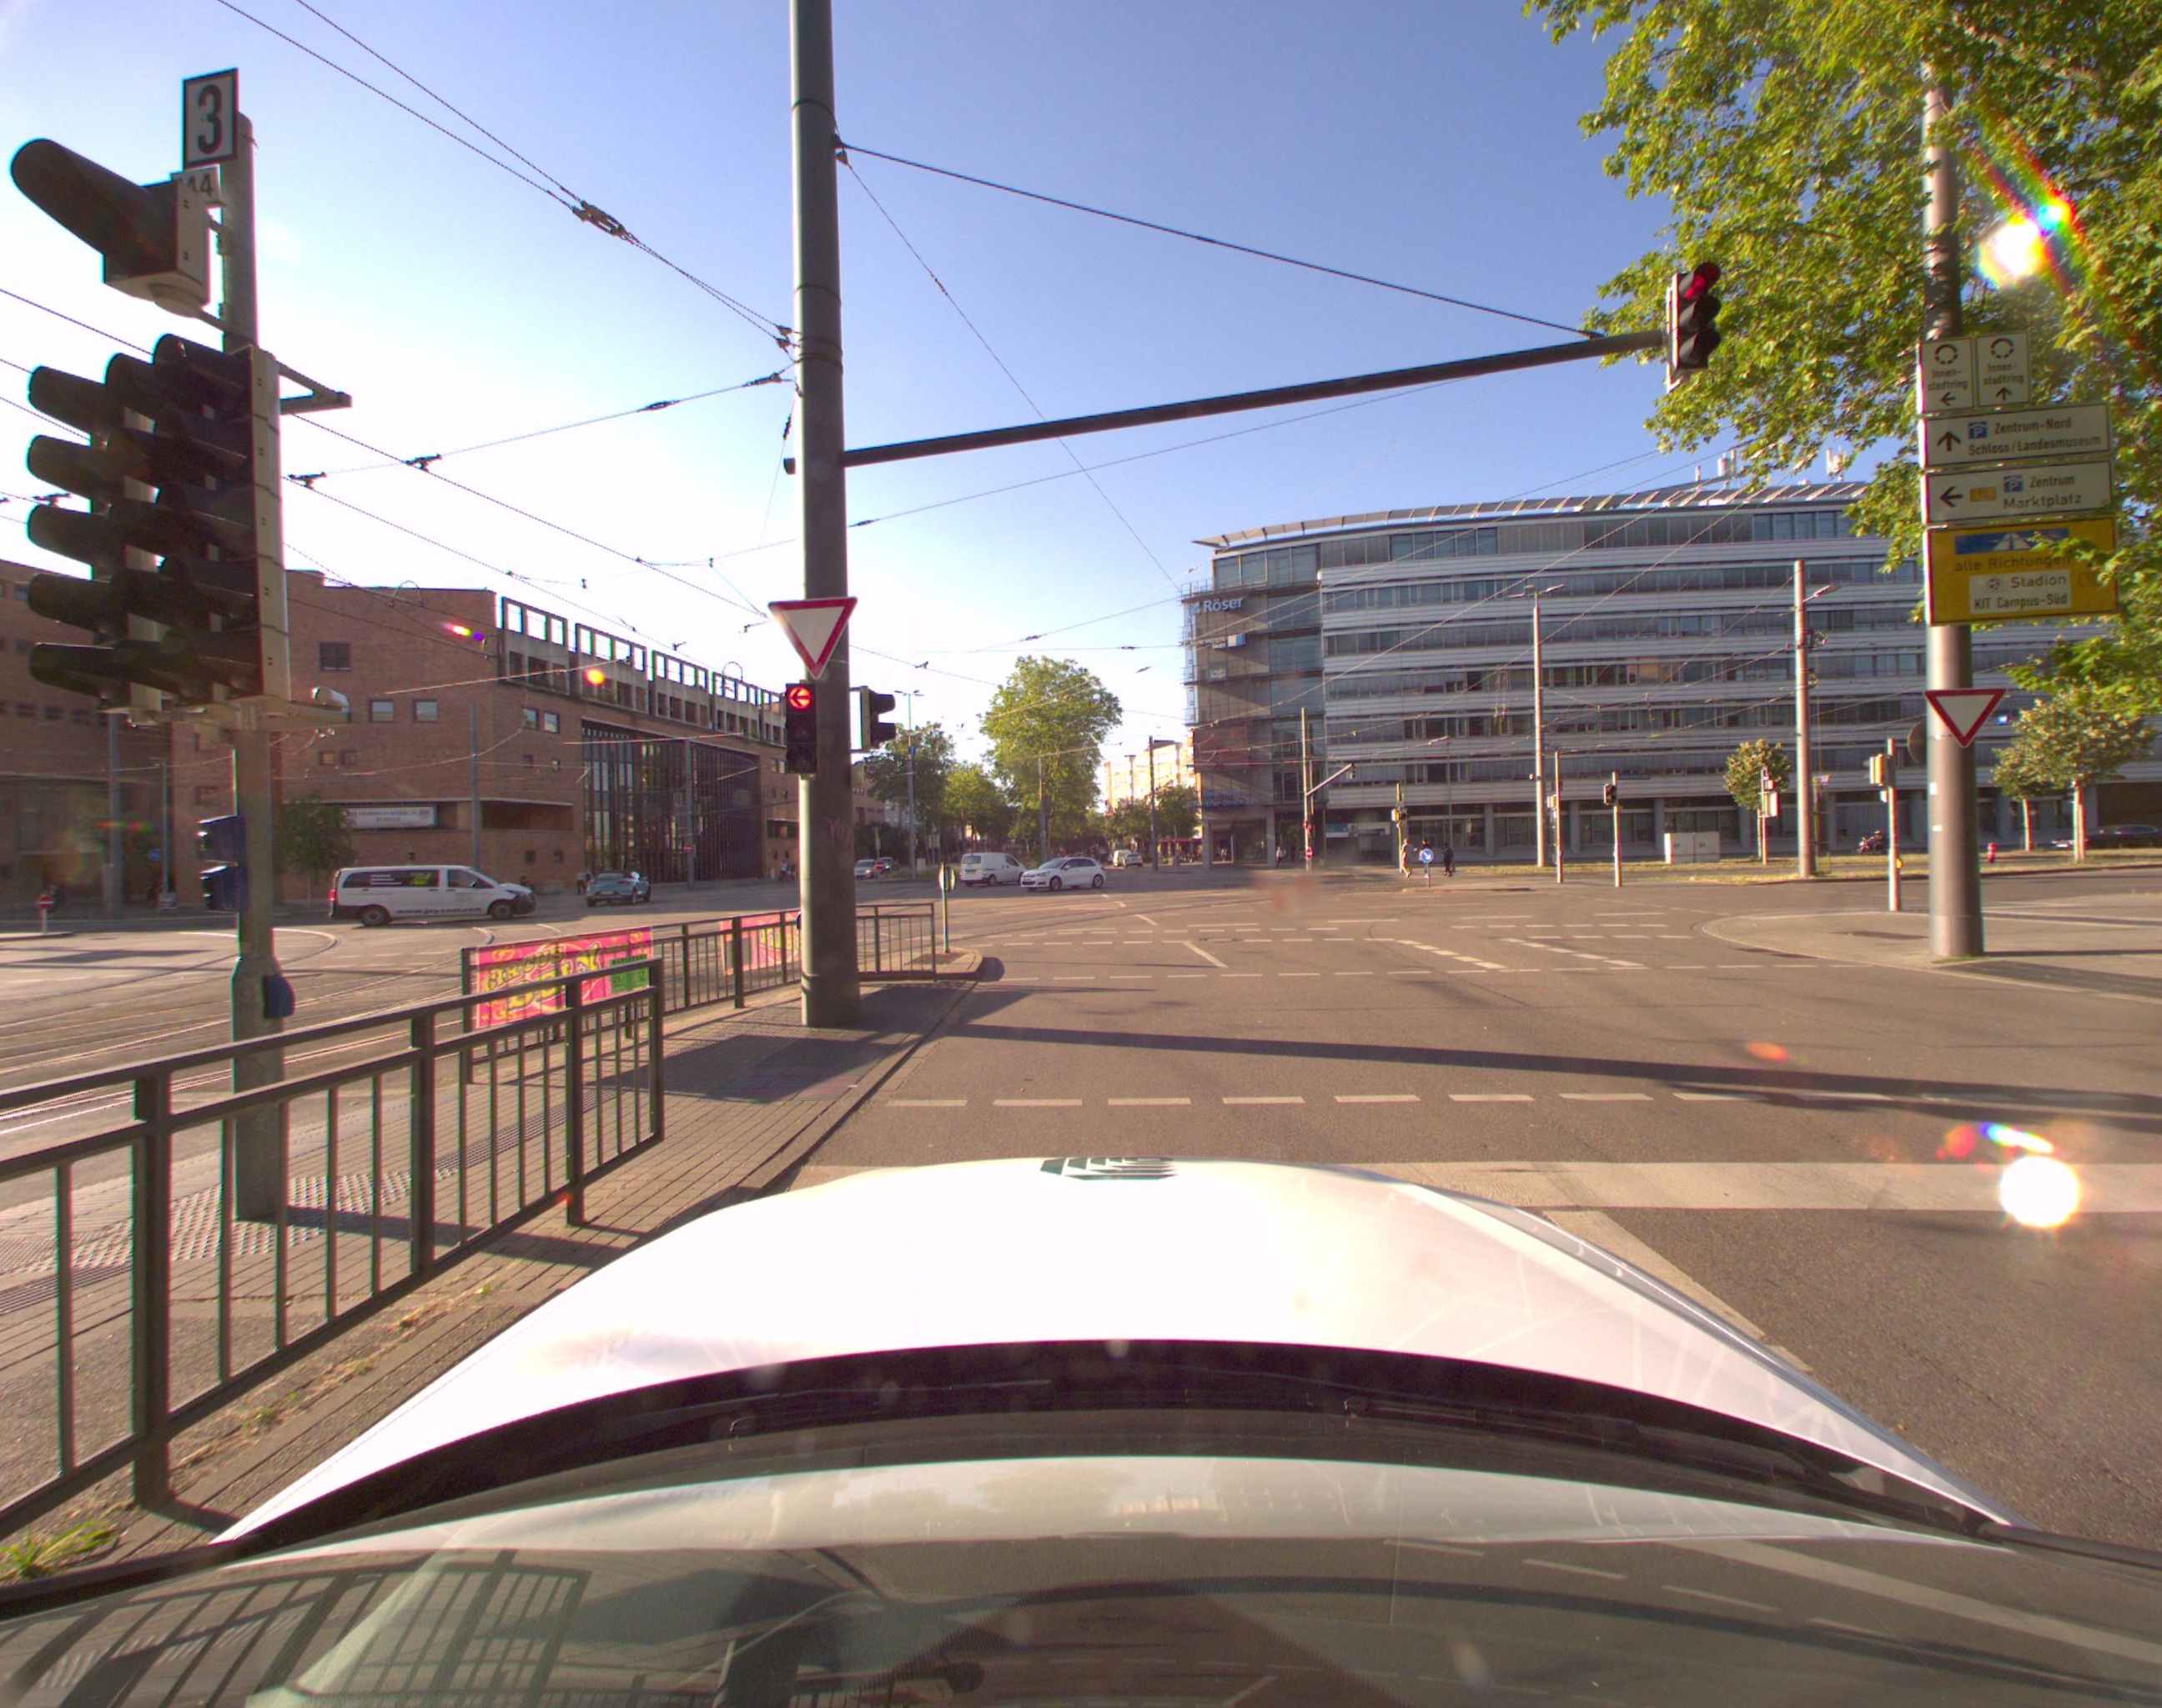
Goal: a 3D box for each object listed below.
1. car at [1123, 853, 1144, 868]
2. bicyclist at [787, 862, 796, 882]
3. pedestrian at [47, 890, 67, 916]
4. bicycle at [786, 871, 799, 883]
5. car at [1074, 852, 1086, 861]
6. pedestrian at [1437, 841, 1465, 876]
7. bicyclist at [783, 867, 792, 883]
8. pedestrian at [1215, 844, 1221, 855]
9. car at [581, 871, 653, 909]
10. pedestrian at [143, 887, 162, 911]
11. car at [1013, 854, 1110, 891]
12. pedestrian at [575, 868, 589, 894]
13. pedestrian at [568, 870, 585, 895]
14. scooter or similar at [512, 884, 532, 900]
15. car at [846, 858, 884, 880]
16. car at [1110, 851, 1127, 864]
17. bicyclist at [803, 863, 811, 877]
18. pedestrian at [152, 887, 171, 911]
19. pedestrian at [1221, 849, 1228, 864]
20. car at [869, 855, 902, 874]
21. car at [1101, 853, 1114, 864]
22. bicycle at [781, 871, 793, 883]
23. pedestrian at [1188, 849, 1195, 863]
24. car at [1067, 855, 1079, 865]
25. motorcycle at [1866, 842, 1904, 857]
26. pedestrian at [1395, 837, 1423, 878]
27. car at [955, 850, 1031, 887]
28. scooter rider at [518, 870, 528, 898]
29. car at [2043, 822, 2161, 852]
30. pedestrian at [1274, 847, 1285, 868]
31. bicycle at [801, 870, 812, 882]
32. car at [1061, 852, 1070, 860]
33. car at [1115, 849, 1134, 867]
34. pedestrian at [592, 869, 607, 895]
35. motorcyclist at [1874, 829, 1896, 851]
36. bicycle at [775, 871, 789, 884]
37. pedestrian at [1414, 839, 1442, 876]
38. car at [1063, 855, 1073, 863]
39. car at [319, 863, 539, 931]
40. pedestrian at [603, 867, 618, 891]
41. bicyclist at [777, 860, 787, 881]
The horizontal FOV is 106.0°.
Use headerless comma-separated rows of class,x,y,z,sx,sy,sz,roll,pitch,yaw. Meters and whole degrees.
car,5.292,0.620,82.828,1.986,1.376,4.002,-2,0,2
bicyclist,-23.618,1.429,66.534,0.456,1.603,0.581,-2,0,1
pedestrian,-59.450,2.851,47.280,0.508,1.463,0.466,-2,0,-6
bicycle,-23.578,1.881,66.590,0.471,0.963,1.576,-2,0,2
car,-0.150,0.430,143.243,1.791,1.442,4.002,-2,0,2
pedestrian,17.308,0.204,38.092,0.943,1.564,0.899,-2,0,9
bicyclist,-24.999,1.795,69.361,0.503,1.304,0.581,-2,0,1
pedestrian,21.518,-0.657,127.930,0.741,1.714,0.612,-2,0,1
car,-20.244,1.530,35.695,1.630,1.426,4.083,-2,0,-14
pedestrian,-58.742,2.843,51.529,0.534,1.463,0.587,-2,0,-20
car,-0.845,0.825,37.190,4.333,1.488,1.740,-2,0,-42
pedestrian,-33.813,1.832,55.190,0.568,1.683,0.551,-2,0,11
pedestrian,-33.645,1.896,54.293,0.643,1.683,0.625,-2,0,20
scooter or similar,-33.727,2.278,49.158,0.956,0.899,0.173,-2,0,-45
car,-18.004,1.218,67.960,1.987,1.640,4.001,-2,0,1
car,4.824,0.476,105.301,1.986,1.618,4.002,-2,0,2
bicyclist,-24.308,1.426,72.310,0.503,1.179,0.581,-2,0,1
pedestrian,-57.862,2.814,51.252,0.558,1.427,0.555,-2,0,-7
pedestrian,14.215,0.242,80.674,0.608,1.507,0.580,-2,0,9
car,-18.114,0.962,75.535,1.987,1.640,4.001,-2,0,1
car,4.097,0.655,126.783,1.986,1.618,4.002,-2,0,2
bicycle,-24.986,1.916,69.298,0.466,0.963,1.320,-2,0,2
pedestrian,14.189,0.233,104.757,0.741,1.714,0.612,-2,0,1
car,-1.295,0.905,130.301,1.791,1.442,4.002,-2,0,2
motorcycle,46.200,-0.278,46.807,1.560,0.810,0.468,-2,0,6
pedestrian,14.742,0.153,36.604,0.860,1.788,0.872,-2,0,4
car,-4.859,0.771,45.604,1.738,1.867,4.554,-2,0,32
scooter rider,-33.711,1.806,49.192,0.441,1.647,0.226,-2,0,-44
car,53.778,-0.872,42.719,4.136,1.398,1.789,-2,0,7
pedestrian,14.607,0.278,59.968,0.609,1.507,0.579,-2,0,4
bicycle,-24.336,1.935,72.311,0.449,0.963,1.348,-2,0,2
car,-3.949,0.444,203.235,1.986,2.013,4.001,-2,0,1
car,4.746,0.449,89.645,1.986,1.860,4.002,-2,0,2
pedestrian,-32.014,1.831,54.110,0.586,1.683,0.553,-2,0,15
motorcyclist,46.214,-0.805,46.808,0.708,1.275,0.460,-2,0,5
bicycle,-24.339,1.889,66.320,0.540,0.963,1.587,-2,0,2
pedestrian,16.305,0.182,38.311,0.907,1.685,1.038,-2,0,9
car,-2.375,0.894,147.415,1.792,1.442,3.999,0,-1,0
car,-20.942,1.322,26.526,5.349,1.848,1.947,-2,0,-32
pedestrian,-32.333,1.741,55.967,0.605,1.625,0.621,-2,0,20
bicyclist,-24.317,1.338,66.320,0.534,1.731,0.581,-2,0,1
